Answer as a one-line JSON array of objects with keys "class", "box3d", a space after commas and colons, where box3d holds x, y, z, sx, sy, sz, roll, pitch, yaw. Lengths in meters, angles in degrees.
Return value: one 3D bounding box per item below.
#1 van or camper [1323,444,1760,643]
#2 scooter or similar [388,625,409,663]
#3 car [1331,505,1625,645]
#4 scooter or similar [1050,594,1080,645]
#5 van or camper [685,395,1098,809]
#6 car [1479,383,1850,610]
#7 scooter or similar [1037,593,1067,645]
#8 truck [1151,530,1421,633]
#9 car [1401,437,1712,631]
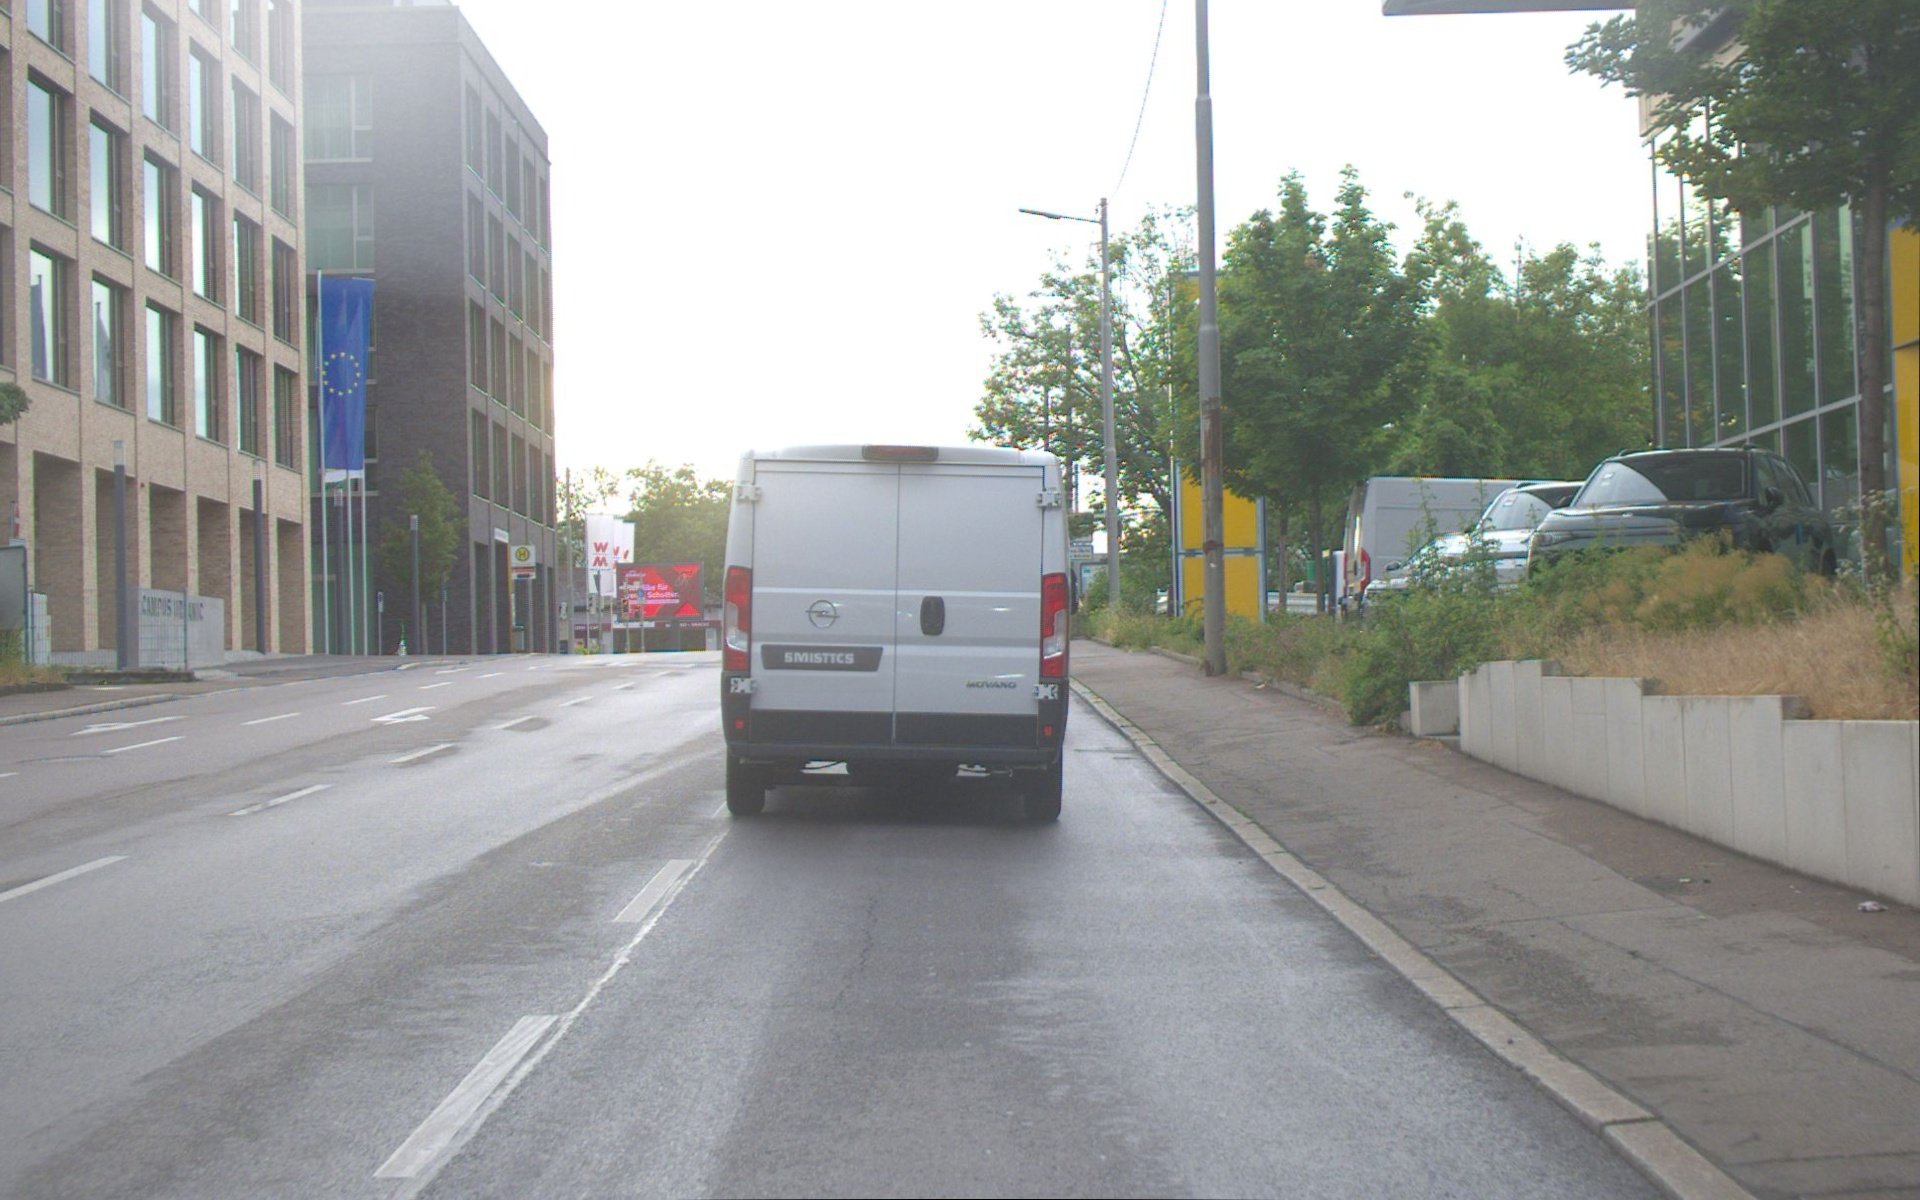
[{"class": "van or camper", "box3d": [8.113, -0.783, 48.407, 5.736, 2.715, 2.352, 0, 0, 0]}, {"class": "scooter or similar", "box3d": [-15.972, 1.257, 97.873, 0.351, 1.068, 1.428, 0, -2, 1]}, {"class": "car", "box3d": [6.052, -0.278, 39.724, 1.912, 1.450, 4.564, -3, -1, 28]}, {"class": "scooter or similar", "box3d": [3.238, 0.591, 105.806, 0.434, 1.559, 1.273, 0, 0, -22]}, {"class": "van or camper", "box3d": [-0.365, 0.009, 22.134, 2.340, 2.349, 5.199, 0, 0, 1]}, {"class": "car", "box3d": [6.150, -0.828, 29.612, 1.996, 1.705, 4.422, -3, -1, 26]}, {"class": "scooter or similar", "box3d": [2.820, 0.581, 105.631, 0.434, 1.582, 1.273, 0, 0, -22]}, {"class": "truck", "box3d": [6.529, -0.376, 69.277, 5.147, 2.007, 2.345, 0, 0, -2]}, {"class": "car", "box3d": [6.032, -0.611, 34.324, 1.996, 1.705, 4.572, -3, -1, 23]}]
